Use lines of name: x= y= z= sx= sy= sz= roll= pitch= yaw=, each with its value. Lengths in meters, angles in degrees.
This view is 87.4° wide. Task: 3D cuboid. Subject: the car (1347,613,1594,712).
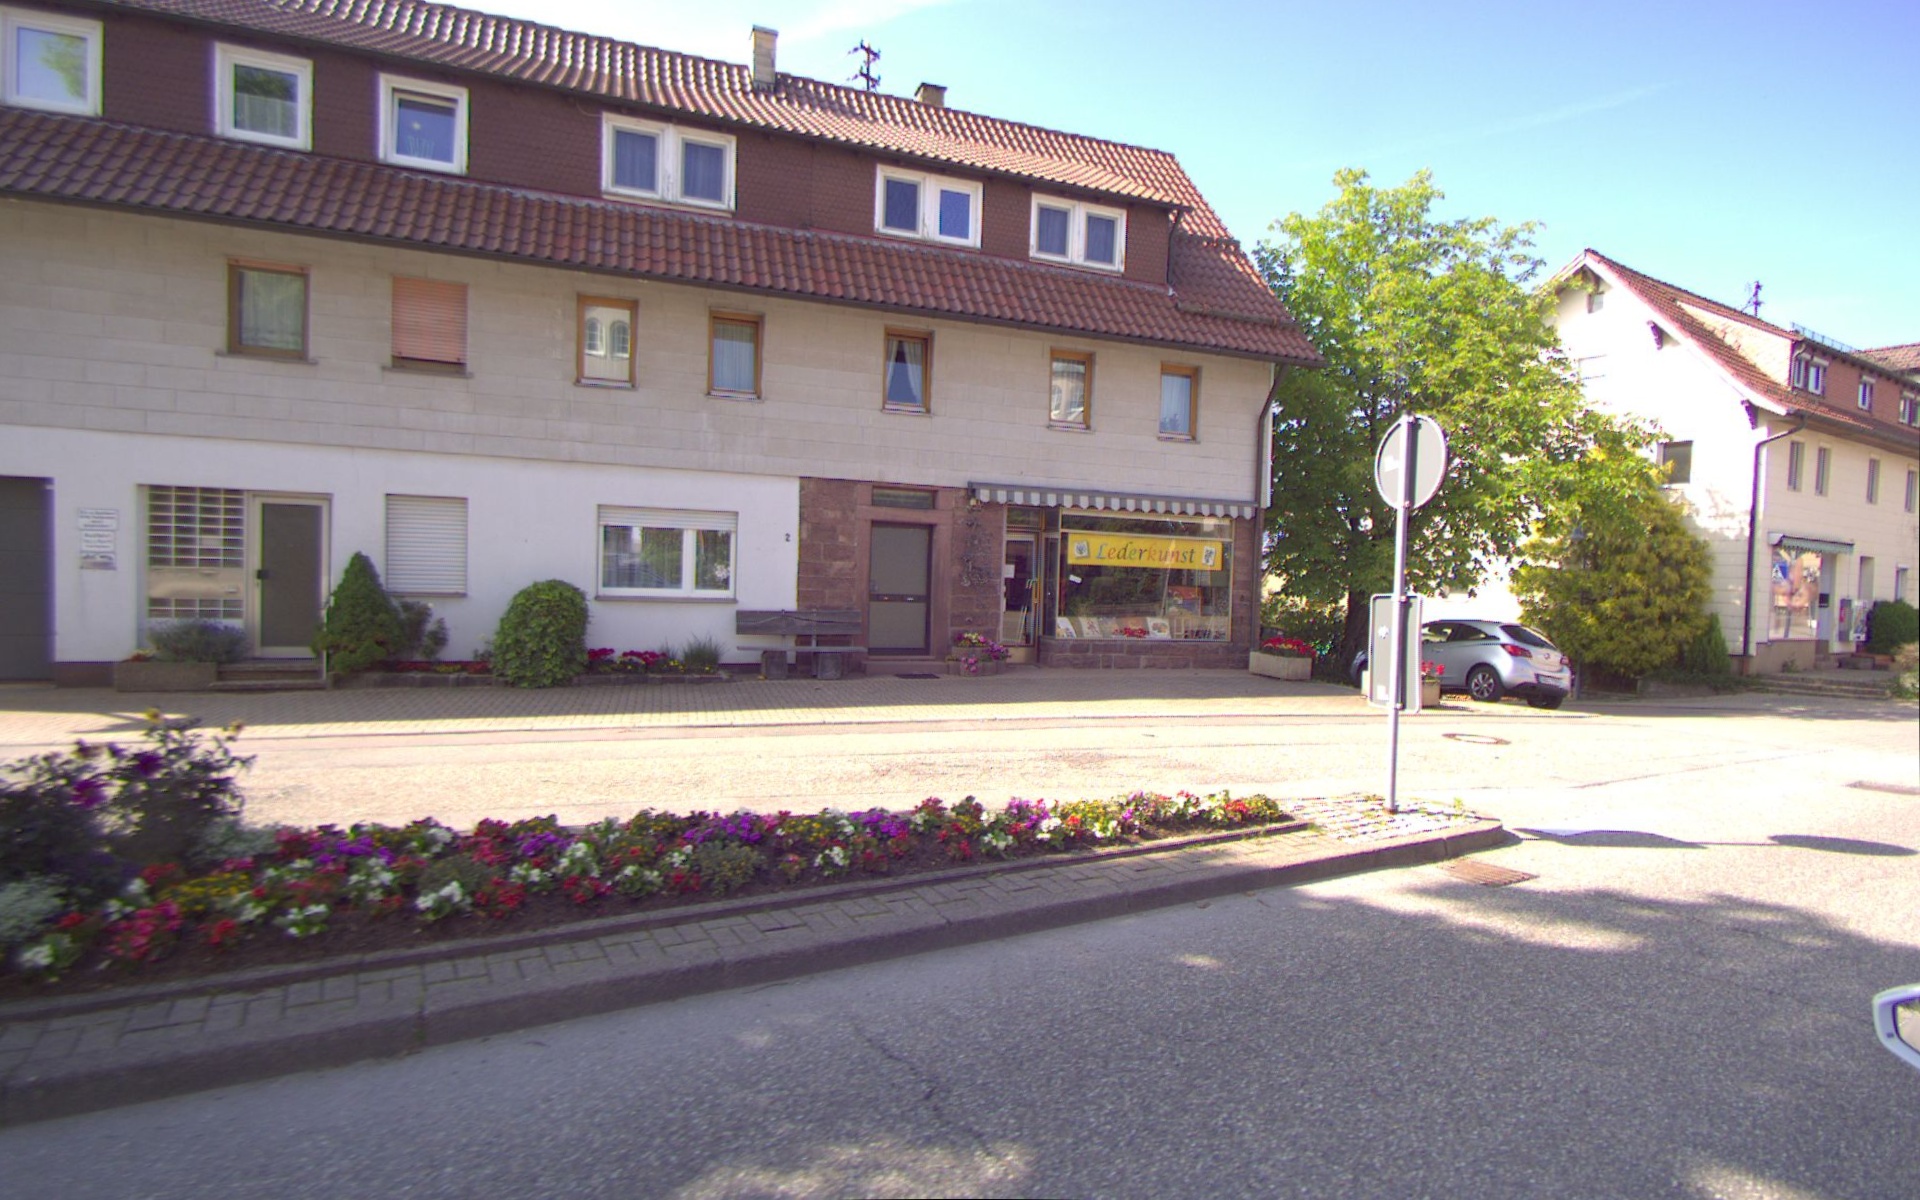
car: x=9.128 y=1.092 z=18.301 sx=1.791 sy=1.472 sz=3.755 roll=6 pitch=-4 yaw=-19
